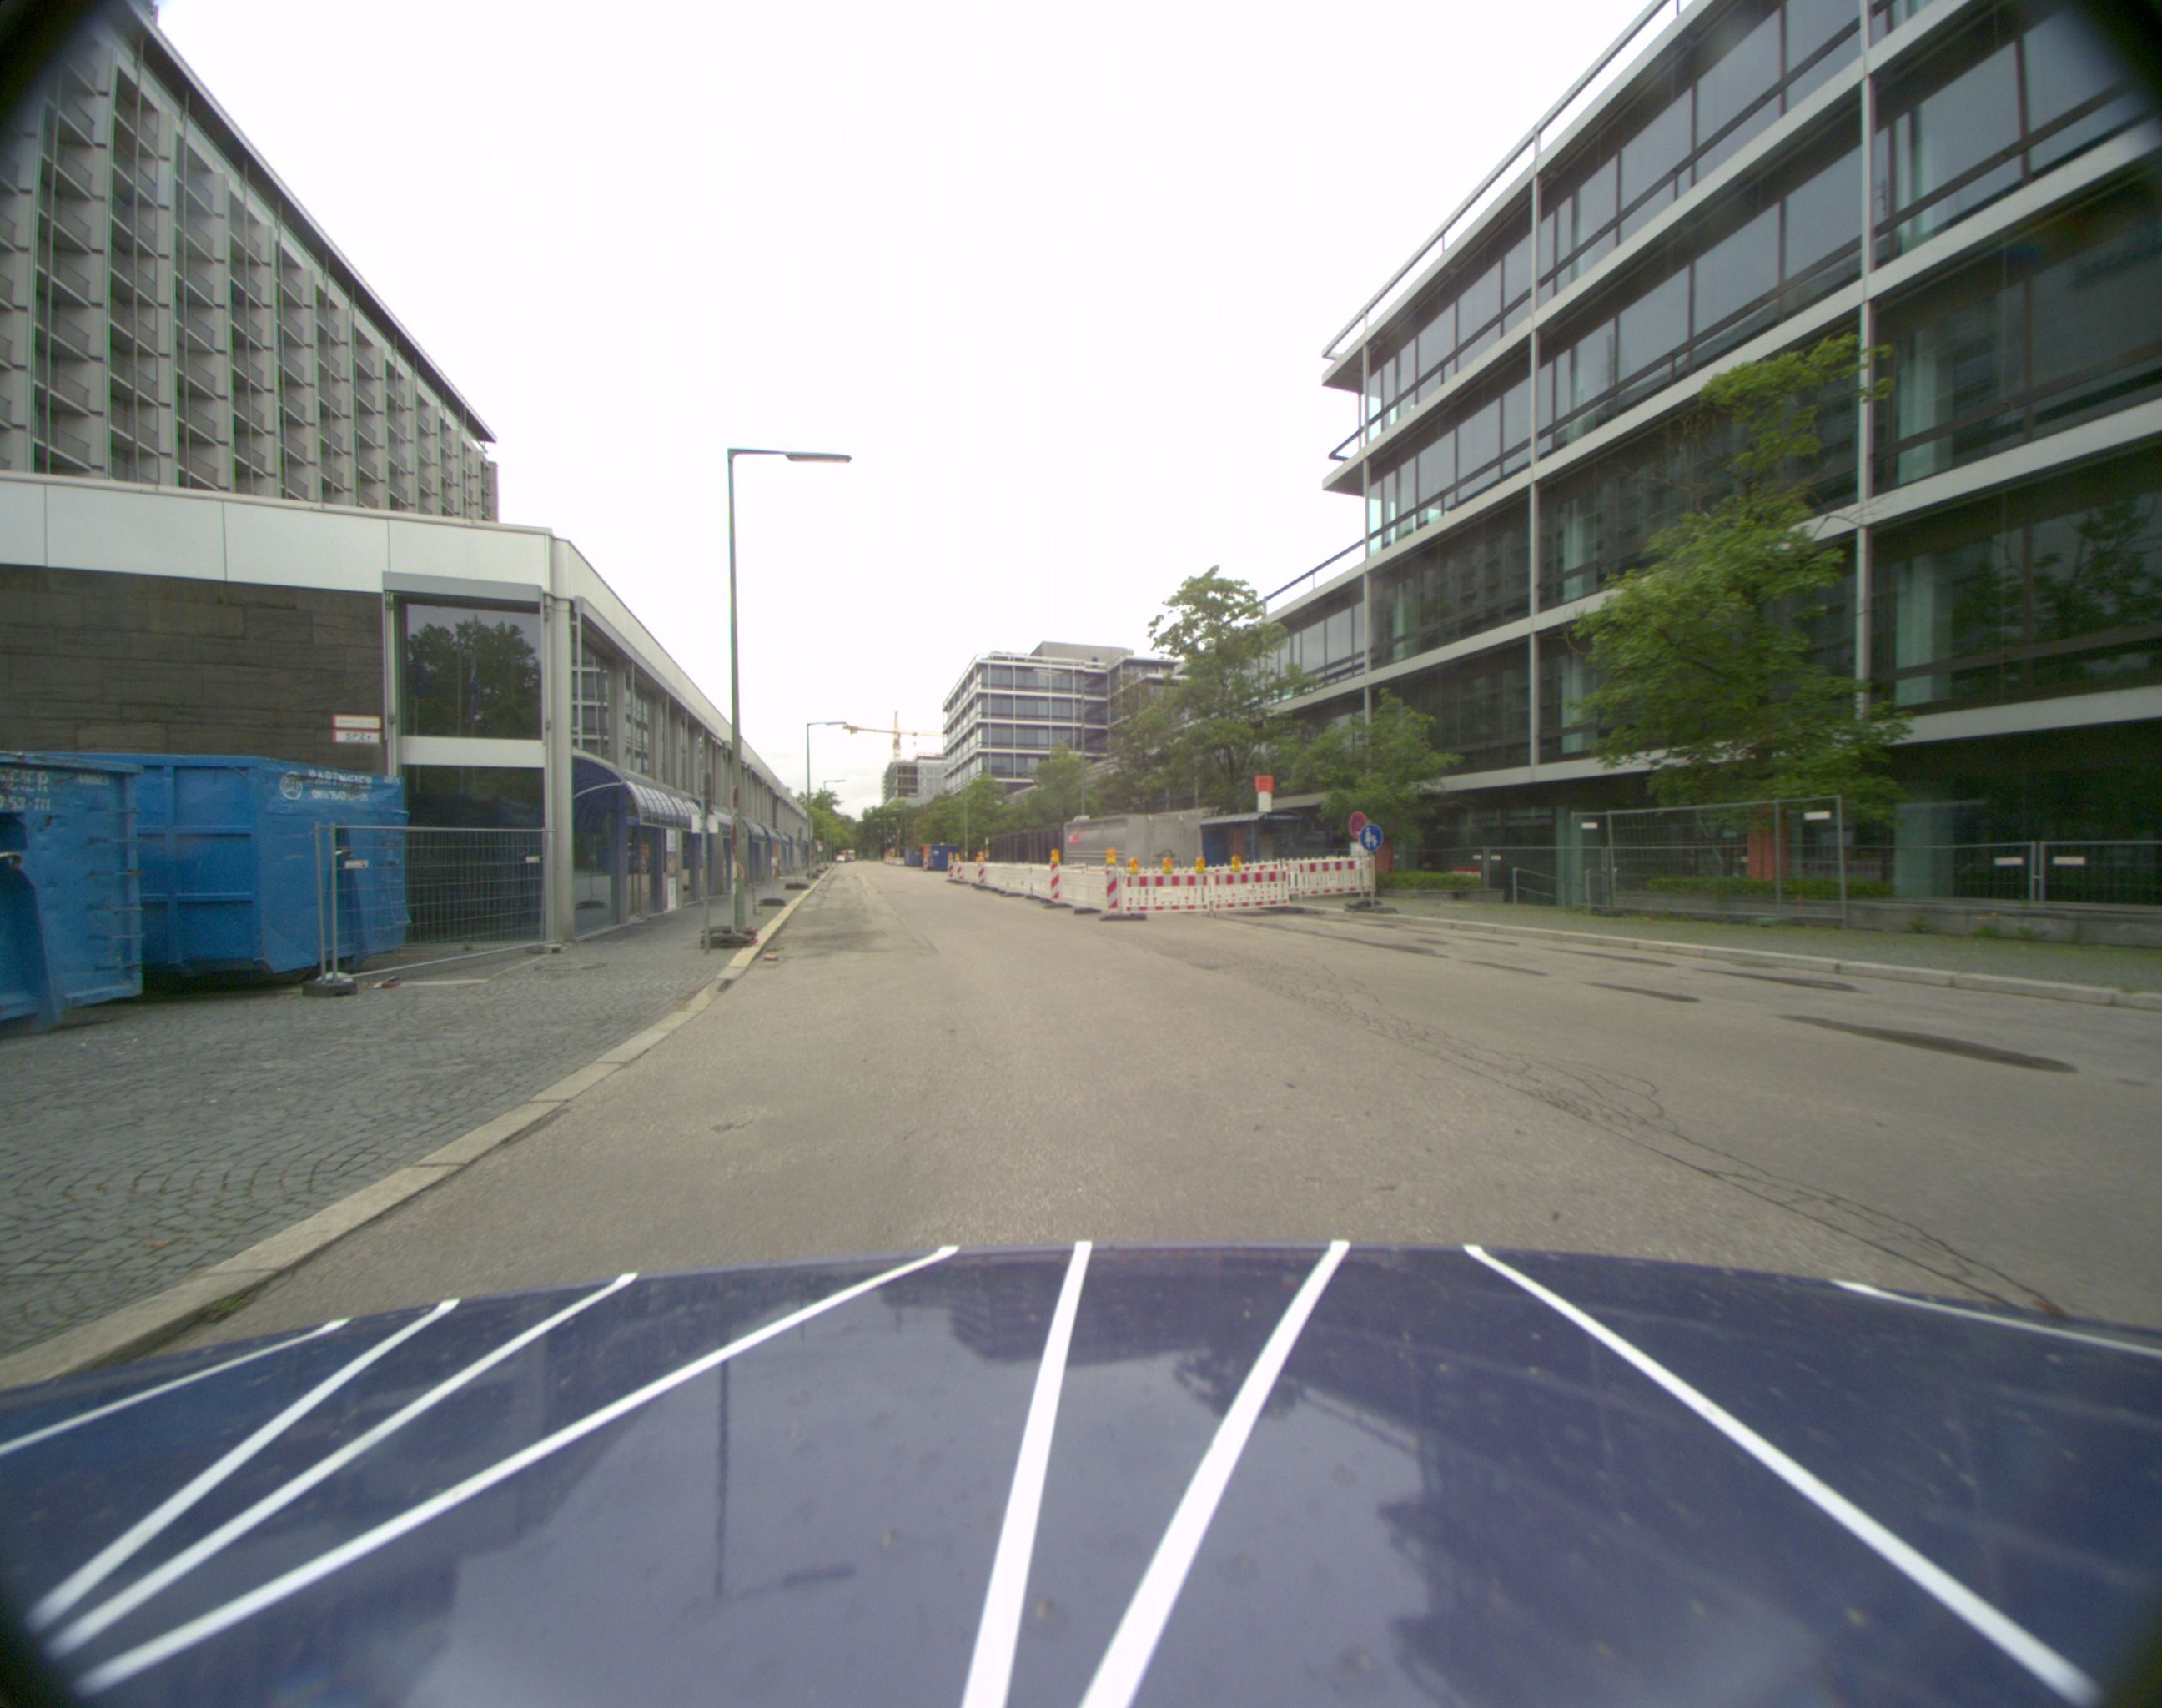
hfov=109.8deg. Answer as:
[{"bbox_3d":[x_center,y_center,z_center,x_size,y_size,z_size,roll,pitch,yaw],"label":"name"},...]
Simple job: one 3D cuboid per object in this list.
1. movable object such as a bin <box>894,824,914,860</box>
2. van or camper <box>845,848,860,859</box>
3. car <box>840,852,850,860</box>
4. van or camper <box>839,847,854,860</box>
[{"bbox_3d":[-32.135,-2.101,137.578,3.246,6.286,8.324,-1,1,-15],"label":"movable object such as a bin"},{"bbox_3d":[-53.981,-0.112,179.520,2.670,2.436,6.438,-1,0,-11],"label":"van or camper"},{"bbox_3d":[-49.506,0.443,159.405,1.915,1.627,3.994,-1,0,-15],"label":"car"},{"bbox_3d":[-50.967,-0.156,165.506,2.670,2.751,6.906,-1,0,-14],"label":"van or camper"}]
